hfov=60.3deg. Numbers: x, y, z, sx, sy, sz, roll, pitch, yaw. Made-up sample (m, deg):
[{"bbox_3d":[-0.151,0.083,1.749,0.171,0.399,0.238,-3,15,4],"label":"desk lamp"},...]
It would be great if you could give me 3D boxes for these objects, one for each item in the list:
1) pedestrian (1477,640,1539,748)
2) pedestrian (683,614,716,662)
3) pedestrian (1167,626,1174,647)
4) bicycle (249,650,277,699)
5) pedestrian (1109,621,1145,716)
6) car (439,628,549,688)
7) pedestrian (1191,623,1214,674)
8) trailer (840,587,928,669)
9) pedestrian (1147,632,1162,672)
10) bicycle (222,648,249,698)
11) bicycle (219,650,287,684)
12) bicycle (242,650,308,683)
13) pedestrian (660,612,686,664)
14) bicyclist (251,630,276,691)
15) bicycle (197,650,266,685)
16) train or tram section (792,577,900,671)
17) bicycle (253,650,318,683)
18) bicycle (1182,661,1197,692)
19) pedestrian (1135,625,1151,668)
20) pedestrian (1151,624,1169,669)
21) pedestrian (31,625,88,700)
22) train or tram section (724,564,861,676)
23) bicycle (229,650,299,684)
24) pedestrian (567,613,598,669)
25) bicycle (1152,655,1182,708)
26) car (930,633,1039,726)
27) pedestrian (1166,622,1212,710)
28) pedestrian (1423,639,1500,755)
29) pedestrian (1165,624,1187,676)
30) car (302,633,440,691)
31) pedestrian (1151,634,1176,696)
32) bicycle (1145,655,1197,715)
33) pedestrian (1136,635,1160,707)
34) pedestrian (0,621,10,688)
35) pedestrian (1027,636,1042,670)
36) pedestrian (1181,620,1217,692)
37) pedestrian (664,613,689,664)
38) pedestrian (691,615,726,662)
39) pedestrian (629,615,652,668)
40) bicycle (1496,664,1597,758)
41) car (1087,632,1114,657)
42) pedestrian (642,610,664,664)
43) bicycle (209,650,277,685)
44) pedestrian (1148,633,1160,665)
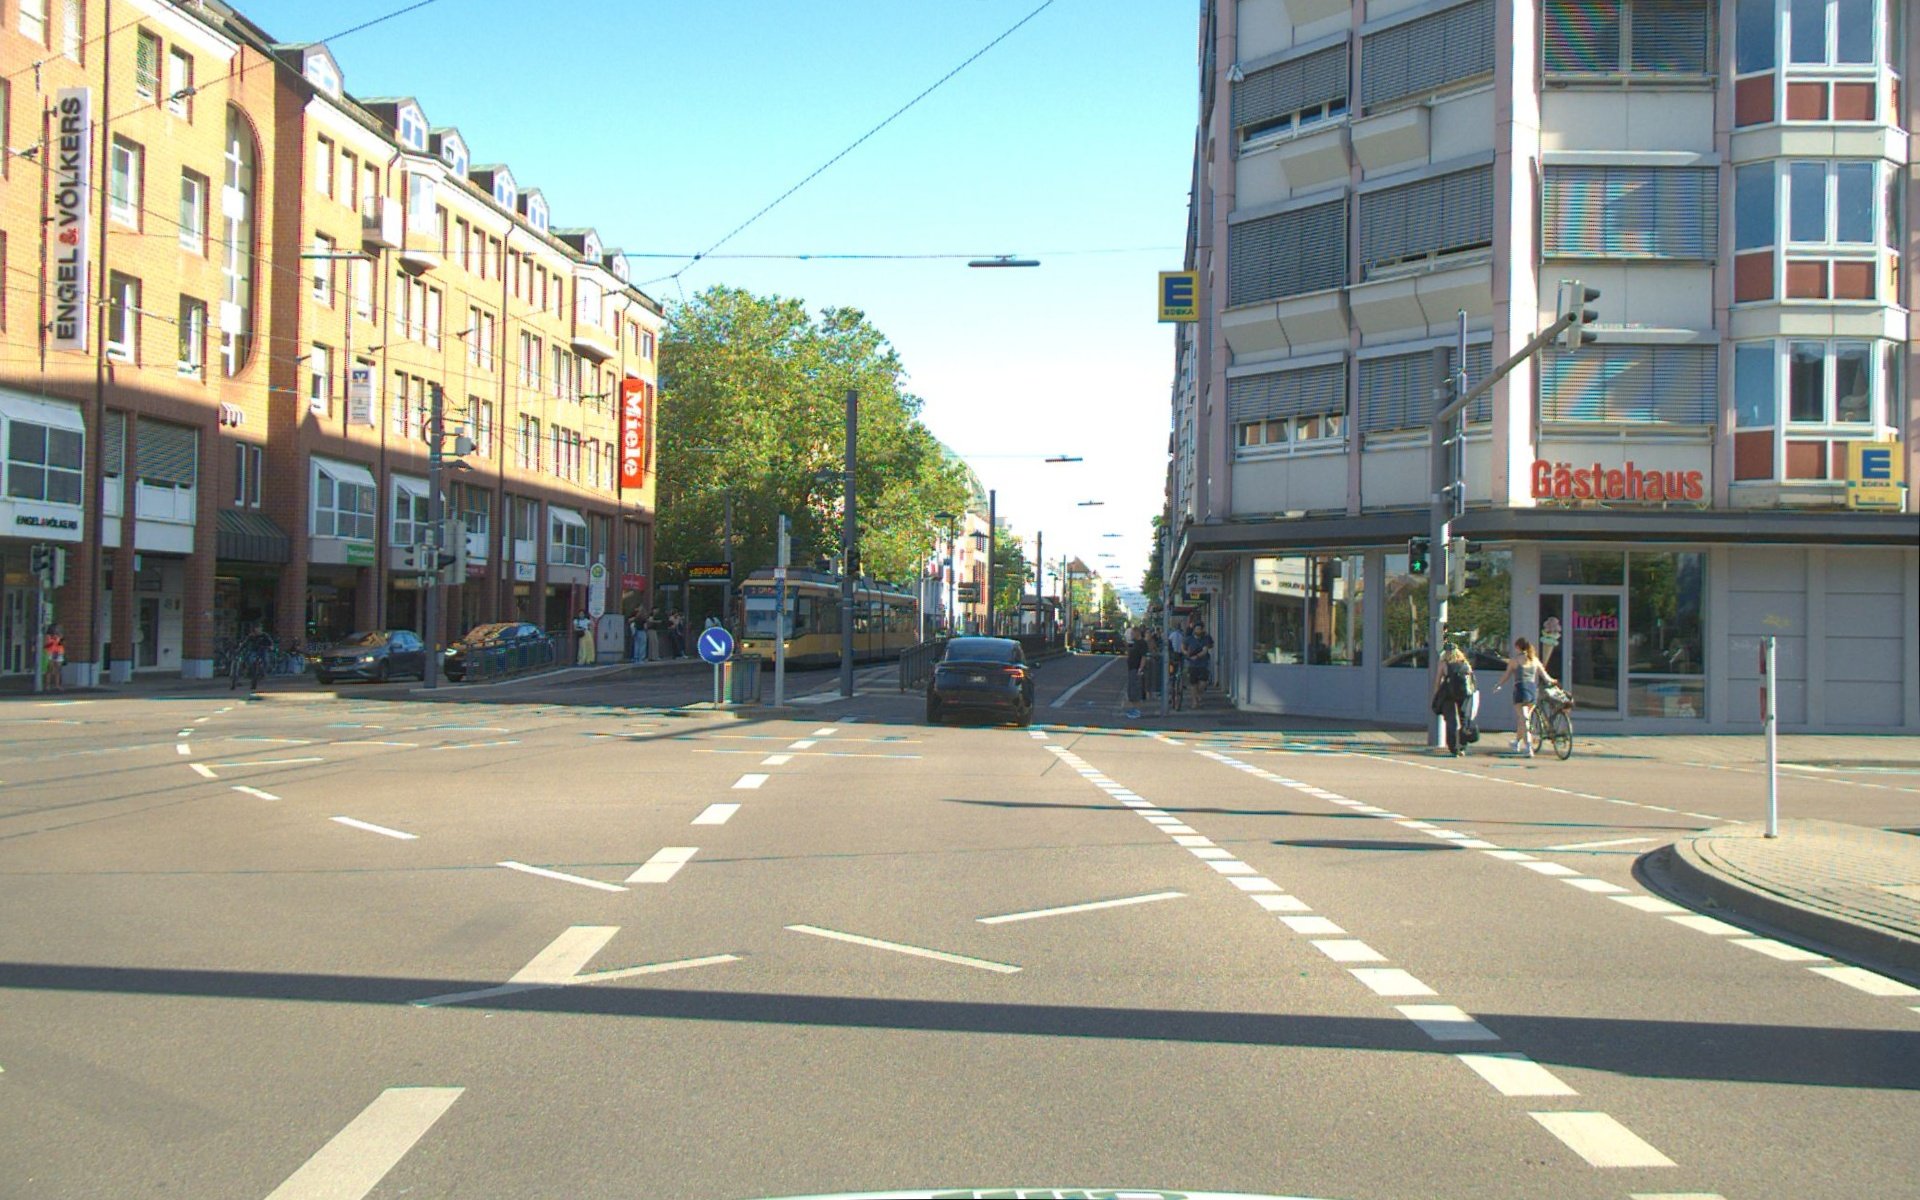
[{"bbox_3d":[8.222,1.398,24.824,0.516,1.582,0.865,2,-2,-11],"label":"pedestrian"},{"bbox_3d":[-9.172,1.345,58.265,0.979,1.653,0.847,1,-2,-2],"label":"pedestrian"},{"bbox_3d":[19.457,3.343,152.906,0.682,1.912,0.750,1,-2,8],"label":"pedestrian"},{"bbox_3d":[-17.229,1.833,40.877,0.484,1.178,1.668,2,-2,-26],"label":"bicycle"},{"bbox_3d":[3.276,1.337,32.411,0.613,1.814,0.918,1,-2,2],"label":"pedestrian"},{"bbox_3d":[-13.022,1.618,46.437,1.779,1.571,3.793,-1,-2,4],"label":"car"},{"bbox_3d":[8.365,1.674,57.089,0.731,1.707,0.699,1,-2,7],"label":"pedestrian"},{"bbox_3d":[-3.497,1.389,78.925,2.656,3.609,9.363,1,-2,6],"label":"trailer"},{"bbox_3d":[9.566,2.559,81.350,0.682,1.930,0.750,1,-2,7],"label":"pedestrian"},{"bbox_3d":[-17.859,1.789,40.767,0.484,1.178,1.701,2,-2,-26],"label":"bicycle"},{"bbox_3d":[-19.872,1.888,46.518,1.674,0.916,0.521,1,-2,5],"label":"bicycle"},{"bbox_3d":[-19.780,1.913,47.750,1.674,0.916,0.521,1,-2,5],"label":"bicycle"},{"bbox_3d":[-9.754,1.305,56.171,0.622,1.751,0.586,1,-2,15],"label":"pedestrian"},{"bbox_3d":[-17.207,1.492,40.864,0.476,1.496,0.713,2,-2,-26],"label":"bicyclist"},{"bbox_3d":[-19.969,1.845,45.354,1.674,0.916,0.521,1,-2,5],"label":"bicycle"},{"bbox_3d":[-4.609,1.086,69.228,2.656,3.609,10.174,1,-2,6],"label":"train or tram section"},{"bbox_3d":[-19.710,1.947,48.365,1.674,0.916,0.521,1,-2,5],"label":"bicycle"},{"bbox_3d":[6.656,2.207,47.932,0.405,0.872,1.238,1,-2,8],"label":"bicycle"},{"bbox_3d":[8.363,2.137,75.714,0.682,1.930,0.750,1,-2,7],"label":"pedestrian"},{"bbox_3d":[7.717,1.783,63.792,0.682,1.707,0.750,1,-2,7],"label":"pedestrian"},{"bbox_3d":[-20.402,1.410,37.473,0.697,1.622,0.777,4,-2,7],"label":"pedestrian"},{"bbox_3d":[-5.784,0.795,59.168,2.671,3.605,10.092,1,-2,7],"label":"train or tram section"},{"bbox_3d":[-19.817,1.896,47.102,1.722,0.916,0.586,1,-2,5],"label":"bicycle"},{"bbox_3d":[-10.764,1.175,47.213,0.622,1.591,0.586,1,-2,14],"label":"pedestrian"},{"bbox_3d":[4.589,1.785,36.672,0.478,1.121,2.126,1,-2,12],"label":"bicycle"},{"bbox_3d":[0.418,1.381,29.130,1.754,1.476,3.939,1,-2,0],"label":"car"},{"bbox_3d":[4.809,1.376,34.675,0.895,1.785,0.840,1,-2,11],"label":"pedestrian"},{"bbox_3d":[7.254,1.394,23.943,0.764,1.604,0.866,1,0,-6],"label":"pedestrian"},{"bbox_3d":[7.183,1.649,54.969,0.682,1.707,0.750,1,-2,7],"label":"pedestrian"},{"bbox_3d":[-15.957,1.665,45.017,1.778,1.479,3.980,-1,-2,10],"label":"car"},{"bbox_3d":[5.722,1.818,46.496,0.682,1.707,0.750,1,-2,7],"label":"pedestrian"},{"bbox_3d":[4.390,1.755,34.554,0.479,1.181,1.968,2,-2,-10],"label":"bicycle"},{"bbox_3d":[4.224,1.581,37.115,0.461,1.590,0.545,1,-2,12],"label":"pedestrian"},{"bbox_3d":[-23.146,1.274,39.059,0.867,1.596,0.862,0,-2,27],"label":"pedestrian"},{"bbox_3d":[4.113,2.925,91.318,0.741,1.801,0.699,1,-2,5],"label":"pedestrian"},{"bbox_3d":[5.769,1.347,39.898,0.673,1.718,0.670,1,-2,-8],"label":"pedestrian"},{"bbox_3d":[-9.728,1.324,56.801,0.622,1.751,0.609,1,-2,15],"label":"pedestrian"},{"bbox_3d":[-9.029,1.398,59.427,1.083,1.653,0.847,1,-2,-2],"label":"pedestrian"},{"bbox_3d":[-9.483,1.234,49.152,0.572,1.558,0.637,1,-2,-5],"label":"pedestrian"},{"bbox_3d":[8.635,1.617,24.427,0.534,1.307,1.903,2,-2,-10],"label":"bicycle"},{"bbox_3d":[9.939,3.144,116.866,1.701,1.694,3.709,1,-2,2],"label":"car"},{"bbox_3d":[-9.994,1.208,53.859,0.624,1.751,0.583,2,-2,-12],"label":"pedestrian"},{"bbox_3d":[-19.913,1.870,45.936,1.674,0.916,0.521,1,-2,5],"label":"bicycle"},{"bbox_3d":[11.825,3.015,100.891,0.682,1.930,0.750,1,-2,7],"label":"pedestrian"}]
